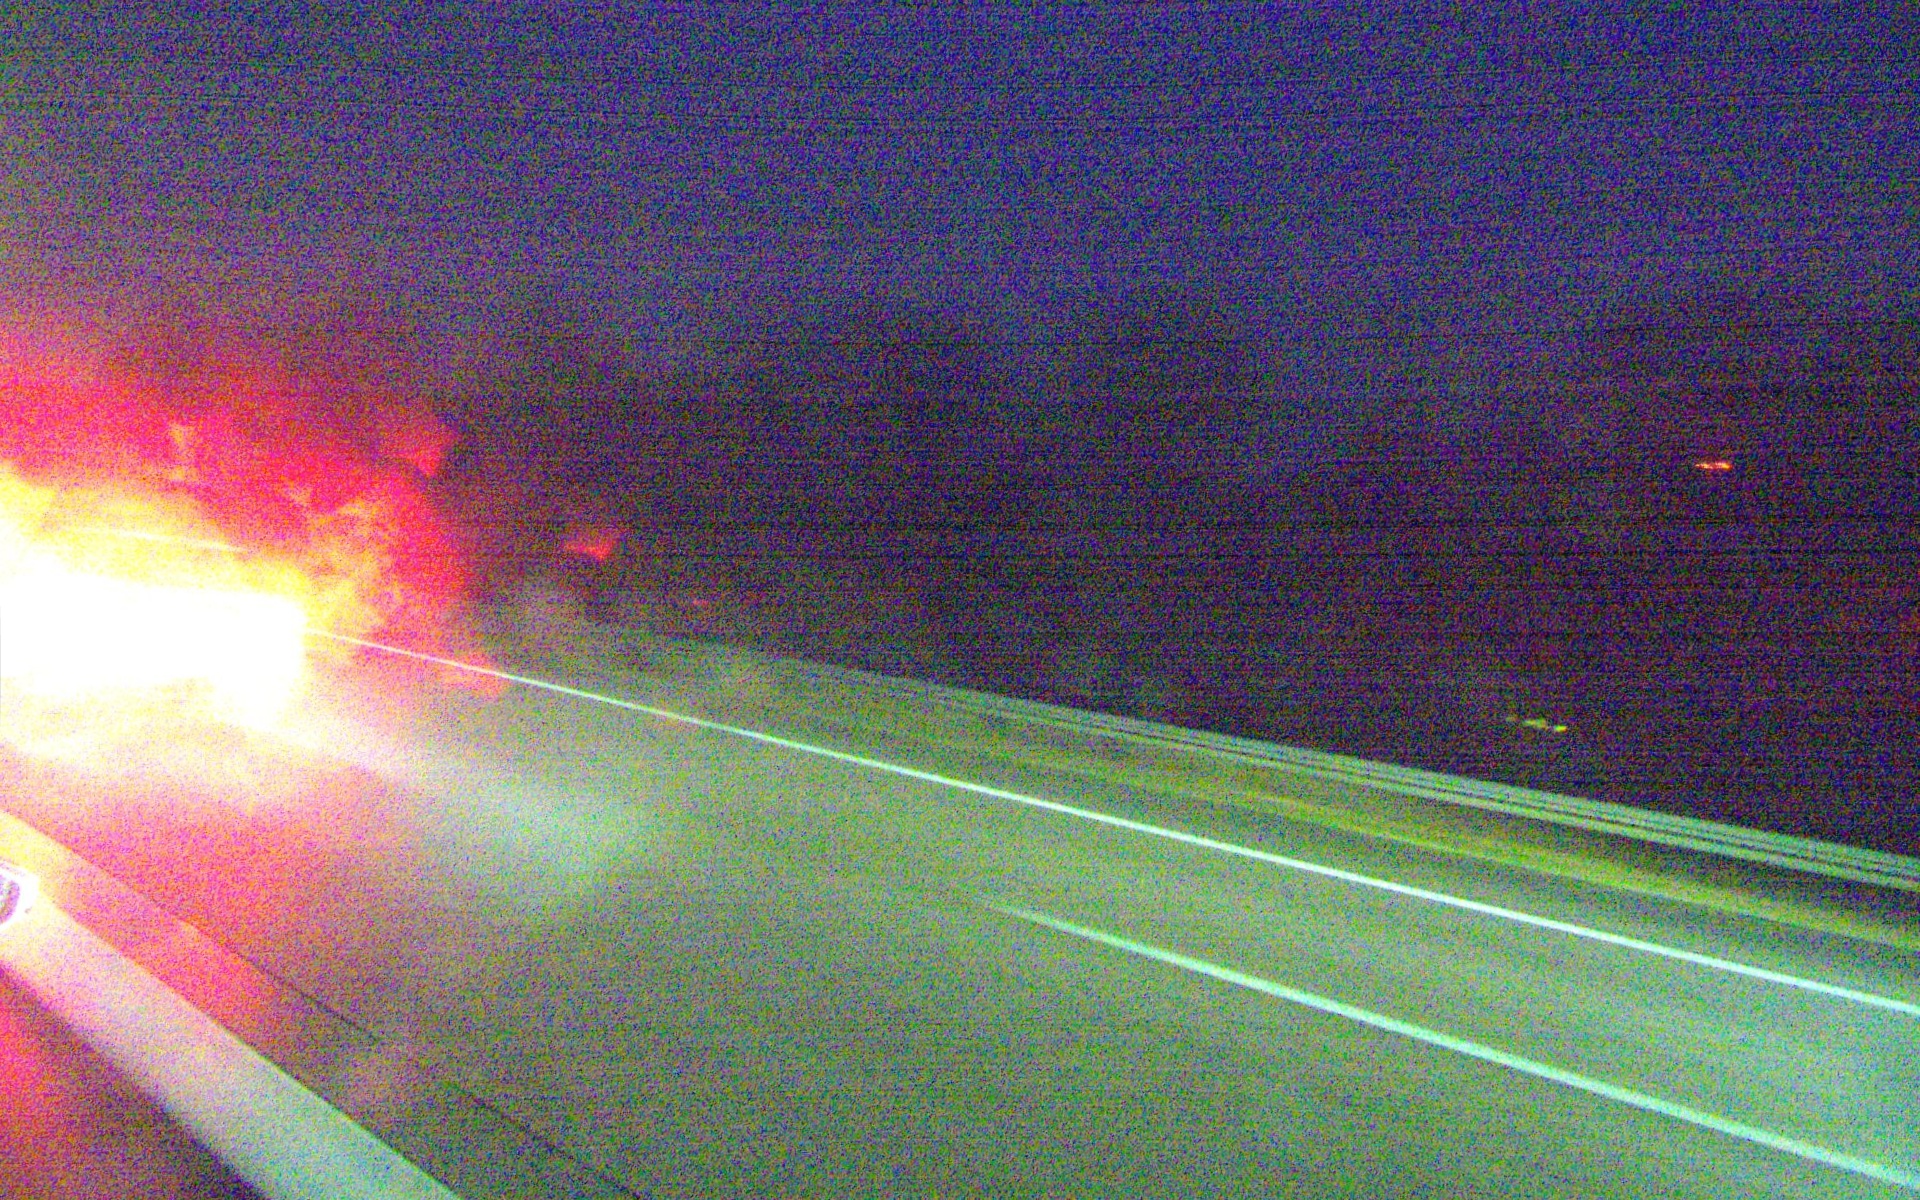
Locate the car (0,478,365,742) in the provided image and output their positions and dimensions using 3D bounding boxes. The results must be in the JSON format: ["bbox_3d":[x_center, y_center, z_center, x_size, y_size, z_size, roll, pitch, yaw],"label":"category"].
[{"bbox_3d":[-7.179,-0.091,8.018,4.933,1.537,2.061,7,-1,32],"label":"car"}]
